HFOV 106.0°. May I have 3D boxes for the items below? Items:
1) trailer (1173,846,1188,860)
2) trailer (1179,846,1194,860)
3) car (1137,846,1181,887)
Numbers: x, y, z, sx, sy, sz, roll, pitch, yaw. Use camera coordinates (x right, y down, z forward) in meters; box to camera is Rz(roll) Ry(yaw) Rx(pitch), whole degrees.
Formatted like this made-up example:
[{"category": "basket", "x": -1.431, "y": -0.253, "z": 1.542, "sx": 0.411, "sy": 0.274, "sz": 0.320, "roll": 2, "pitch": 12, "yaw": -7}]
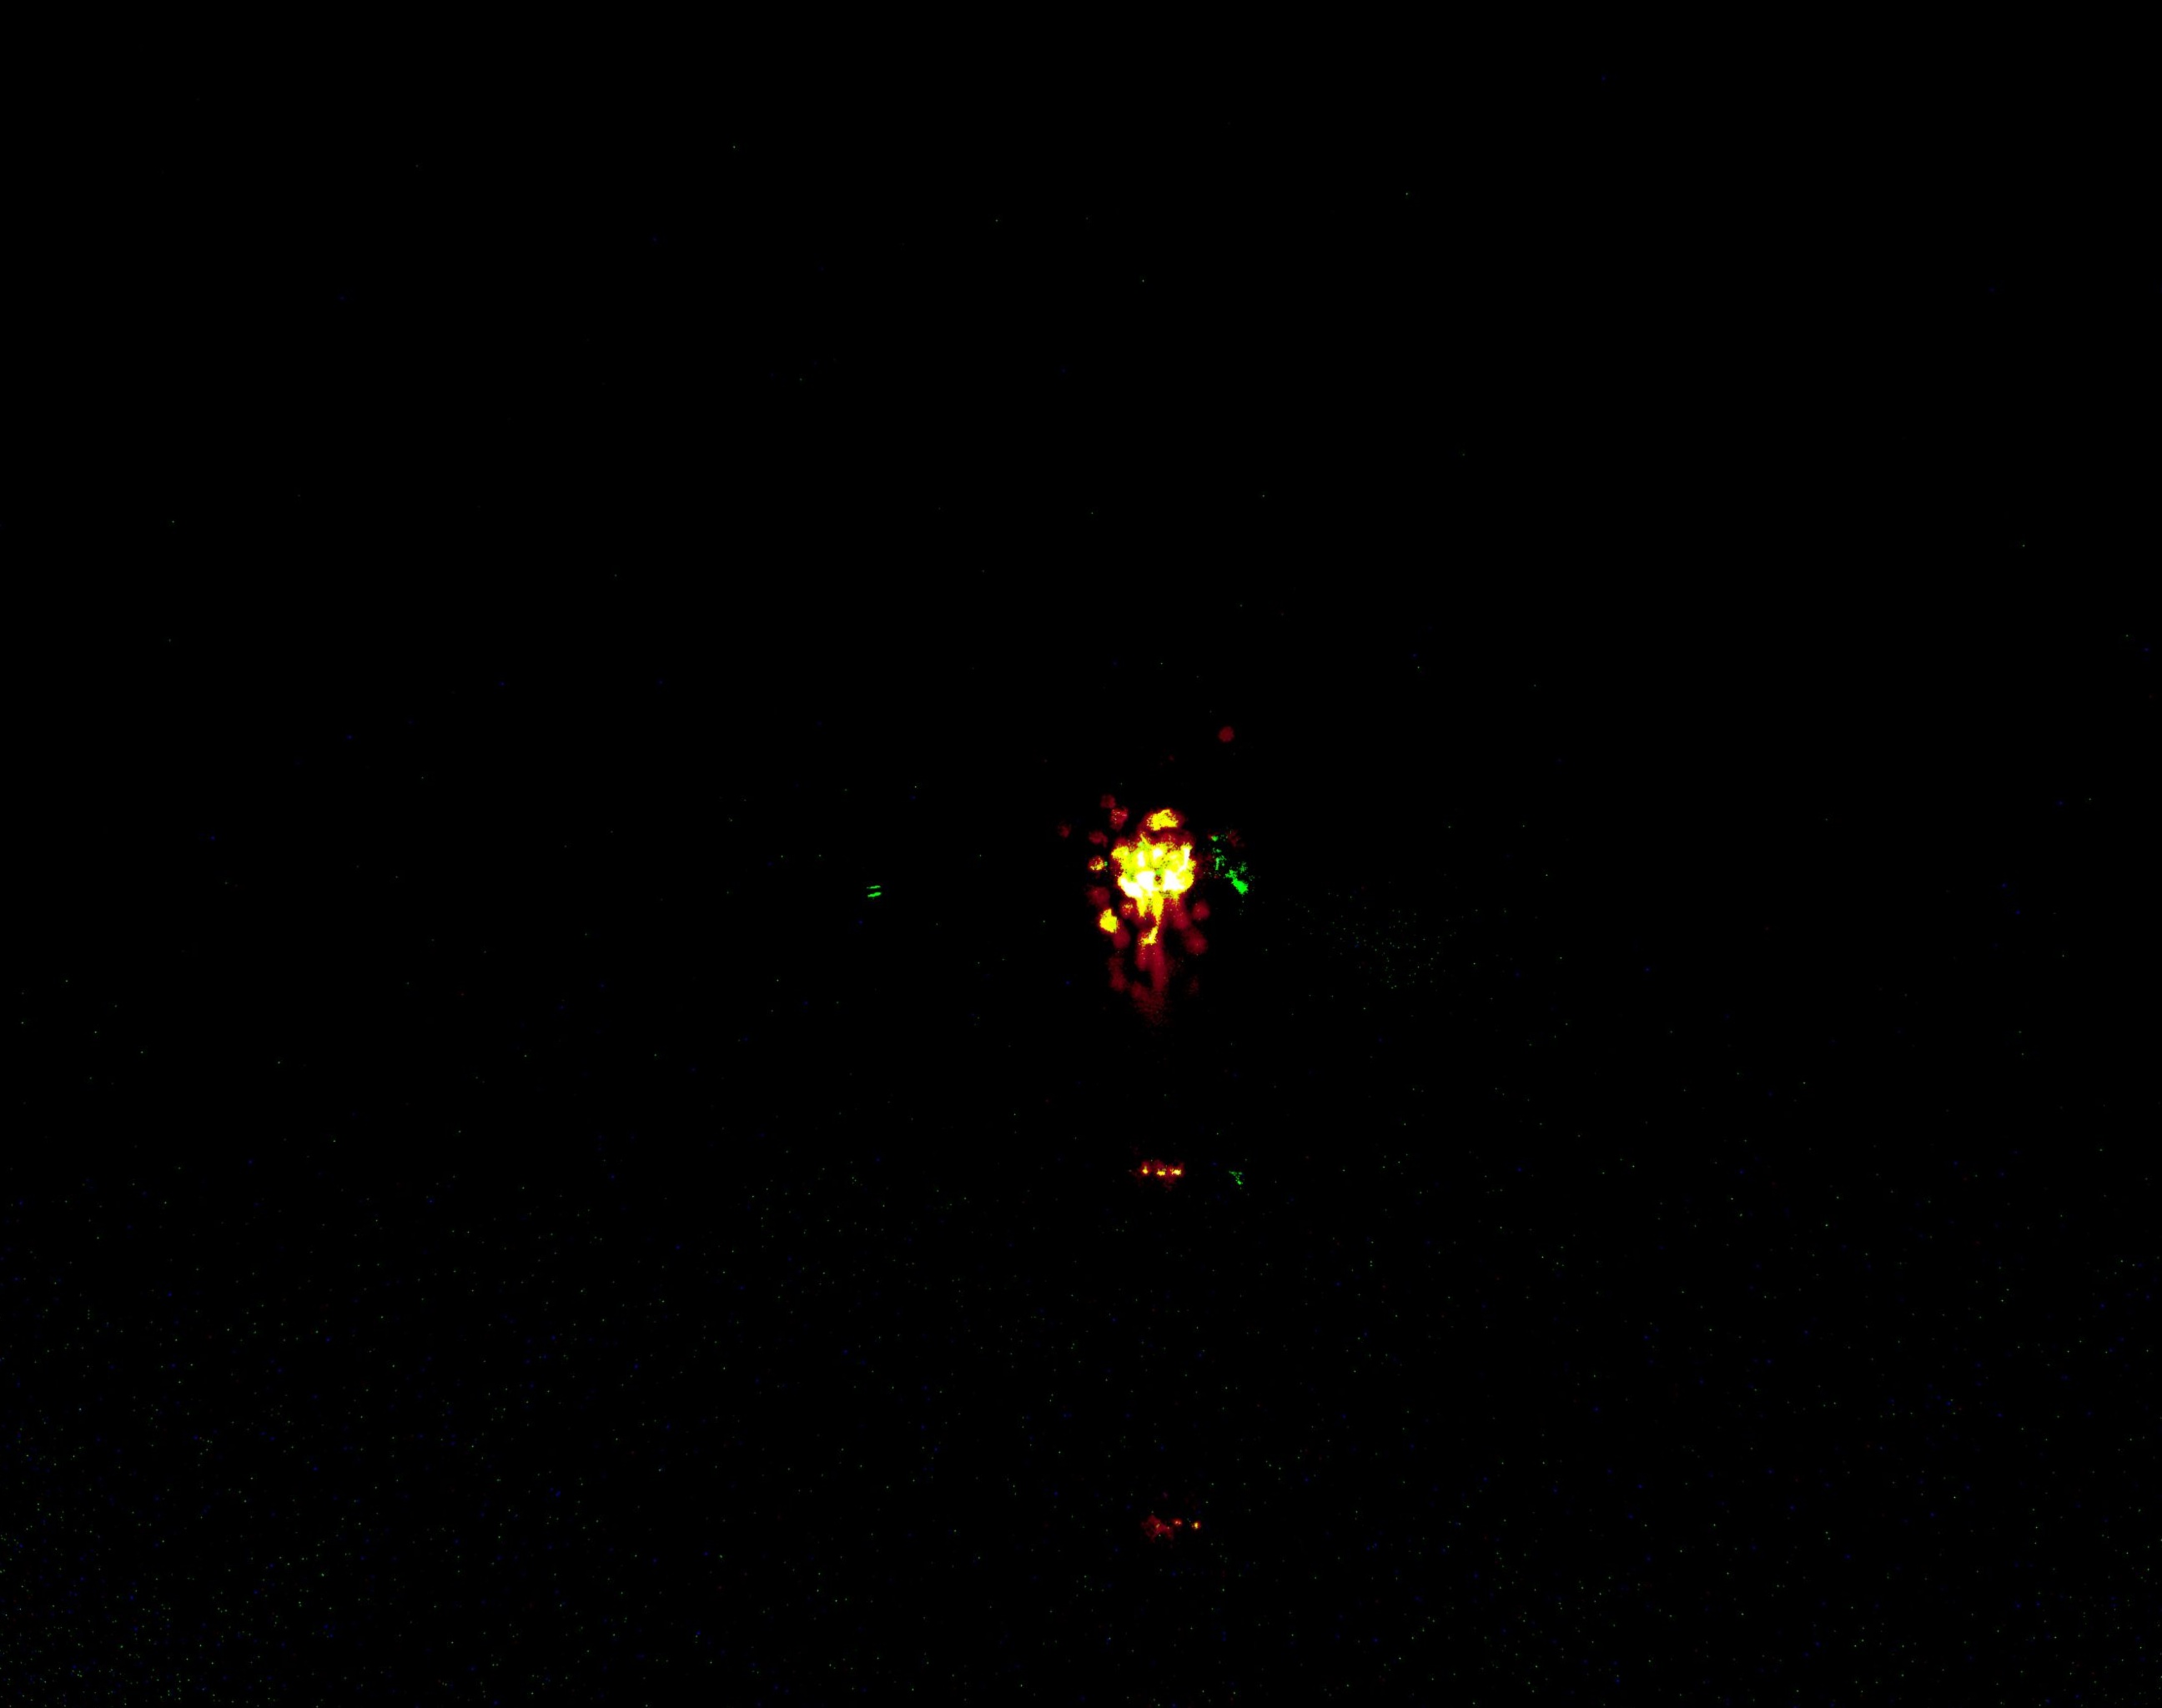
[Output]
[{"category": "trailer", "x": 17.583, "y": -0.142, "z": 144.527, "sx": 1.628, "sy": 2.364, "sz": 4.642, "roll": 0, "pitch": 0, "yaw": -7}, {"category": "trailer", "x": 18.107, "y": -0.118, "z": 139.768, "sx": 1.603, "sy": 2.352, "sz": 4.423, "roll": 0, "pitch": 0, "yaw": -5}, {"category": "car", "x": 3.428, "y": 0.516, "z": 35.871, "sx": 1.793, "sy": 1.628, "sz": 3.621, "roll": -2, "pitch": 0, "yaw": 5}]
